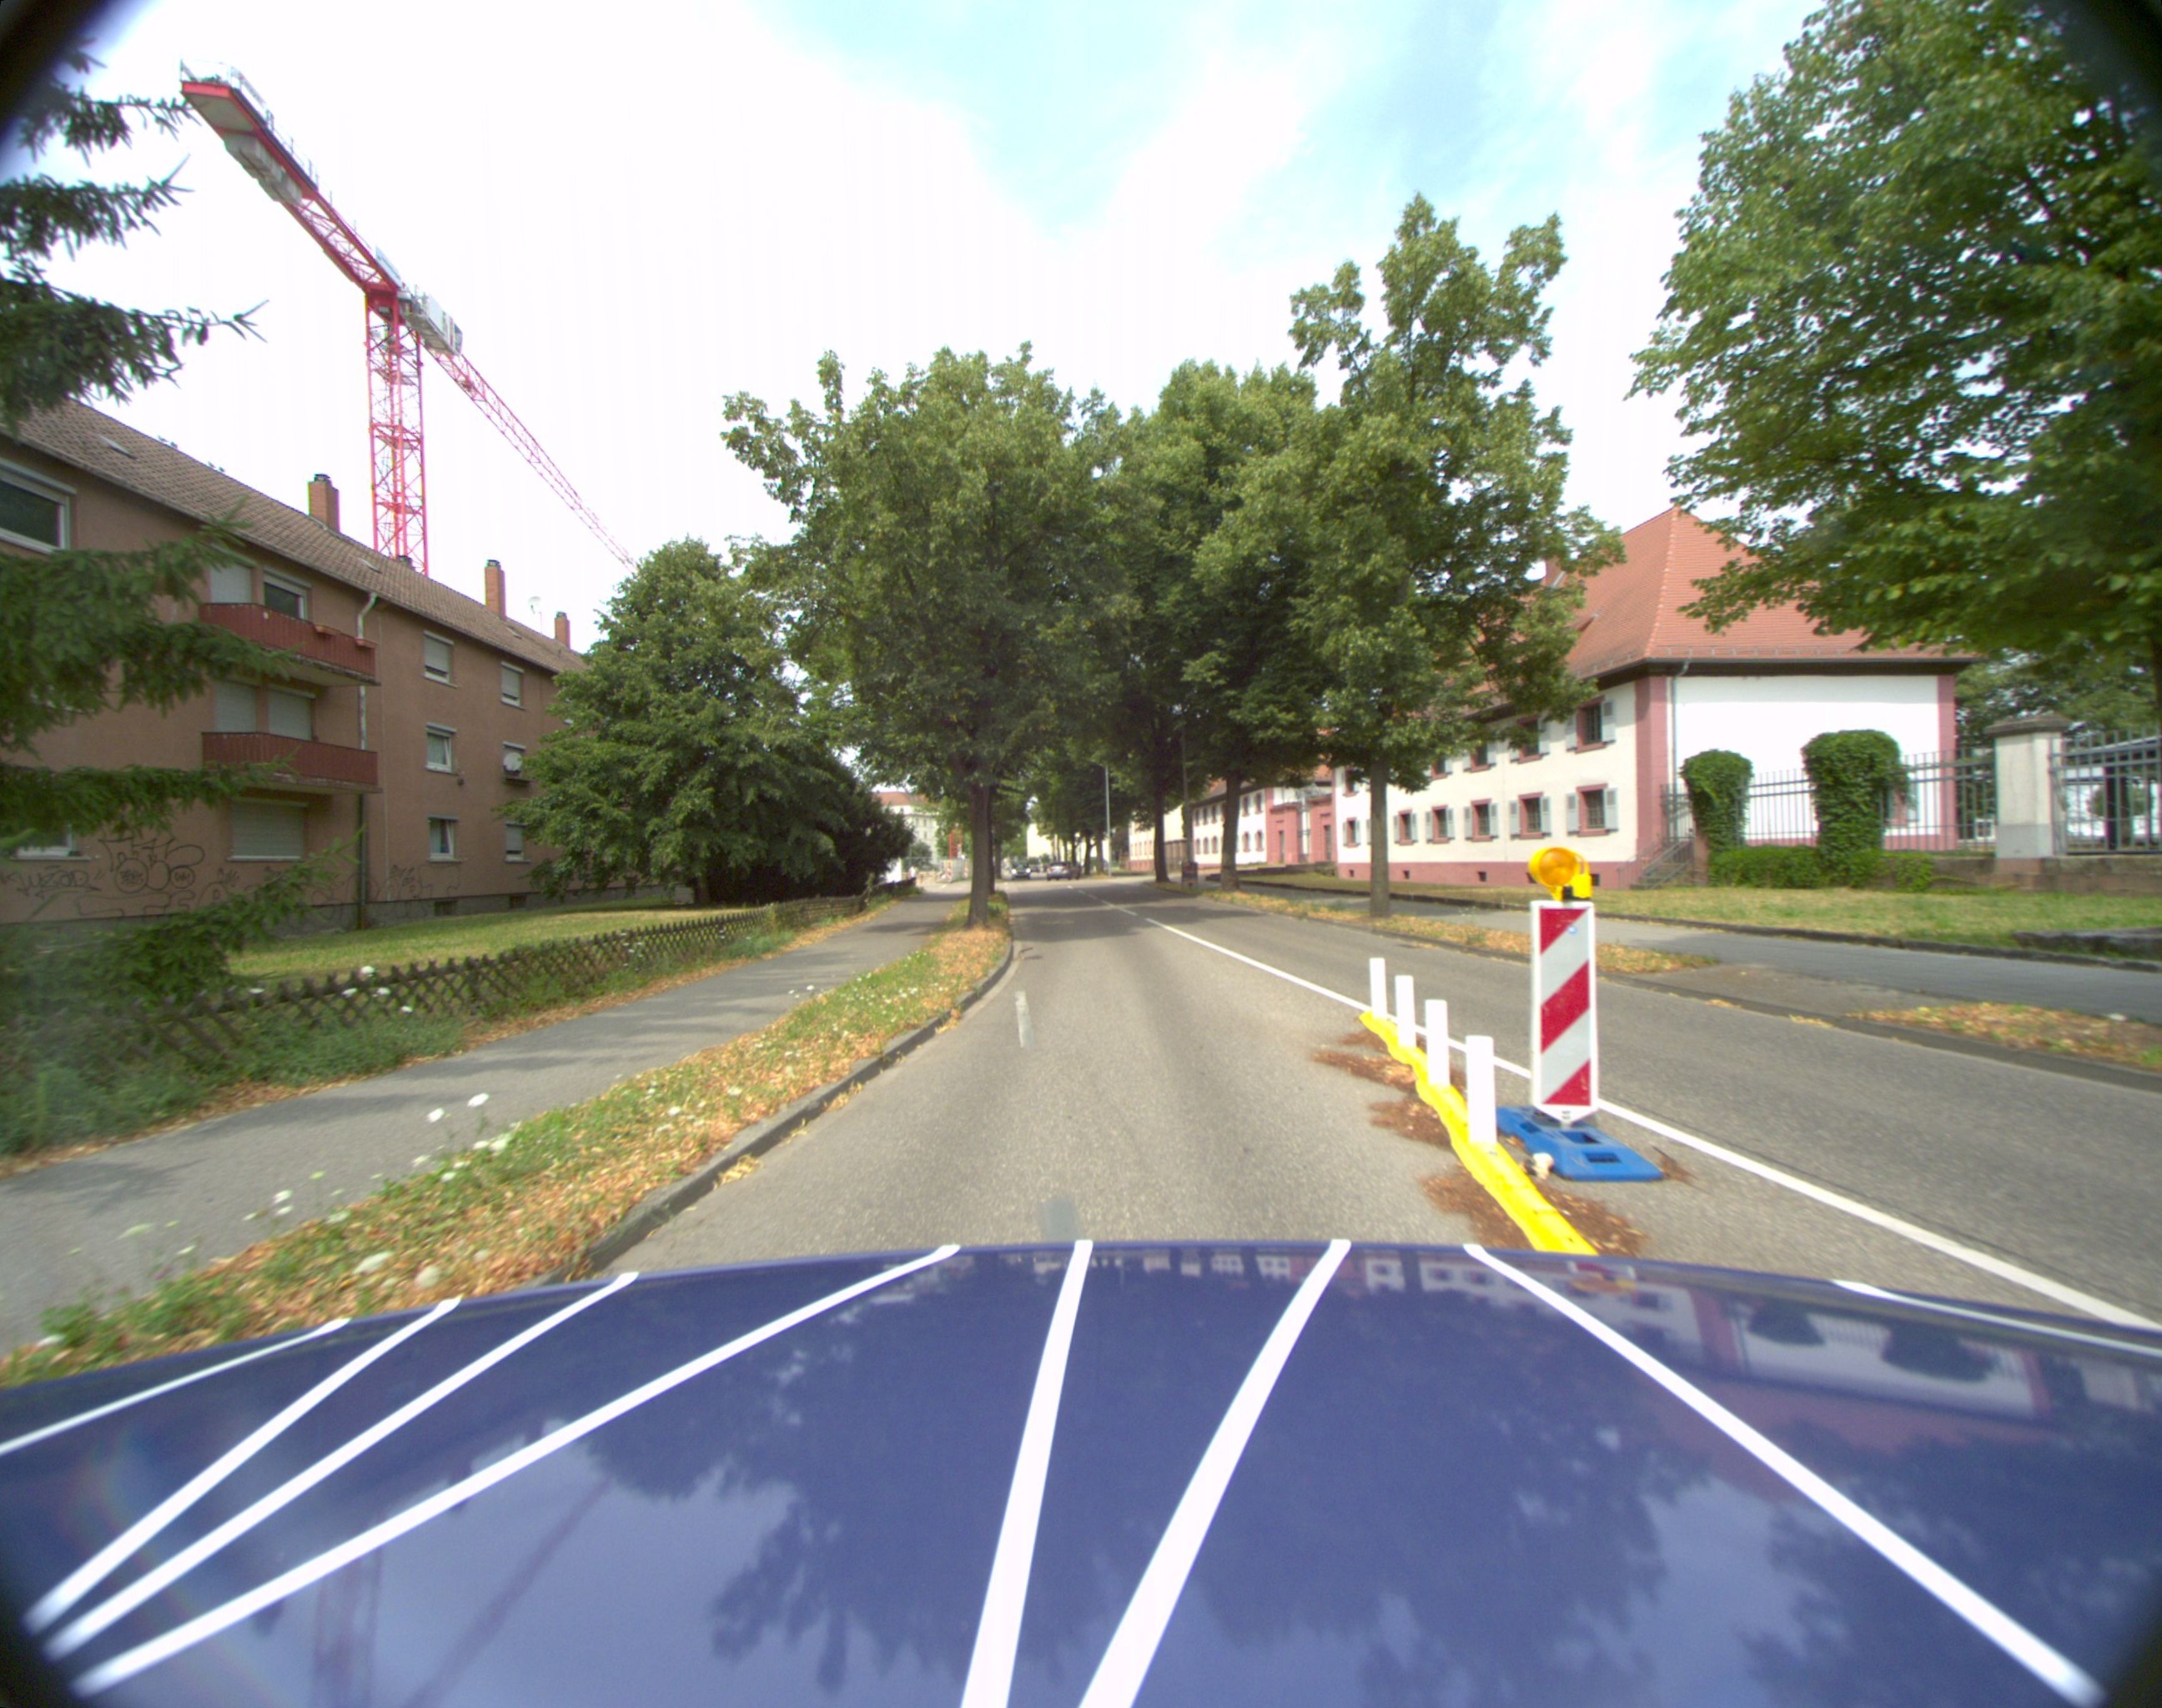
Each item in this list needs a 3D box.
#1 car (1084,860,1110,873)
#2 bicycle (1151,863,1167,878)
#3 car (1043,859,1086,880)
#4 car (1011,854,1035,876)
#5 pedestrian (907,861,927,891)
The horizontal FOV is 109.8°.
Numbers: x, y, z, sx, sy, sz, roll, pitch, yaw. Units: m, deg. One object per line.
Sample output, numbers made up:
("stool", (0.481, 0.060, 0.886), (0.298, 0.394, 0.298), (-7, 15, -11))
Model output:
("car", (3.523, 2.712, 166.455), (5.326, 2.537, 2.354), (-4, -1, -5))
("bicycle", (5.942, 1.272, 58.078), (0.725, 1.088, 2.224), (-6, -1, -6))
("car", (-1.182, 1.157, 56.310), (2.007, 1.433, 4.393), (-1, -3, 15))
("car", (-5.610, 1.079, 73.333), (2.000, 2.001, 3.997), (1, -1, -9))
("pedestrian", (-10.034, 1.334, 46.483), (0.883, 1.803, 0.890), (0, -1, 13))
